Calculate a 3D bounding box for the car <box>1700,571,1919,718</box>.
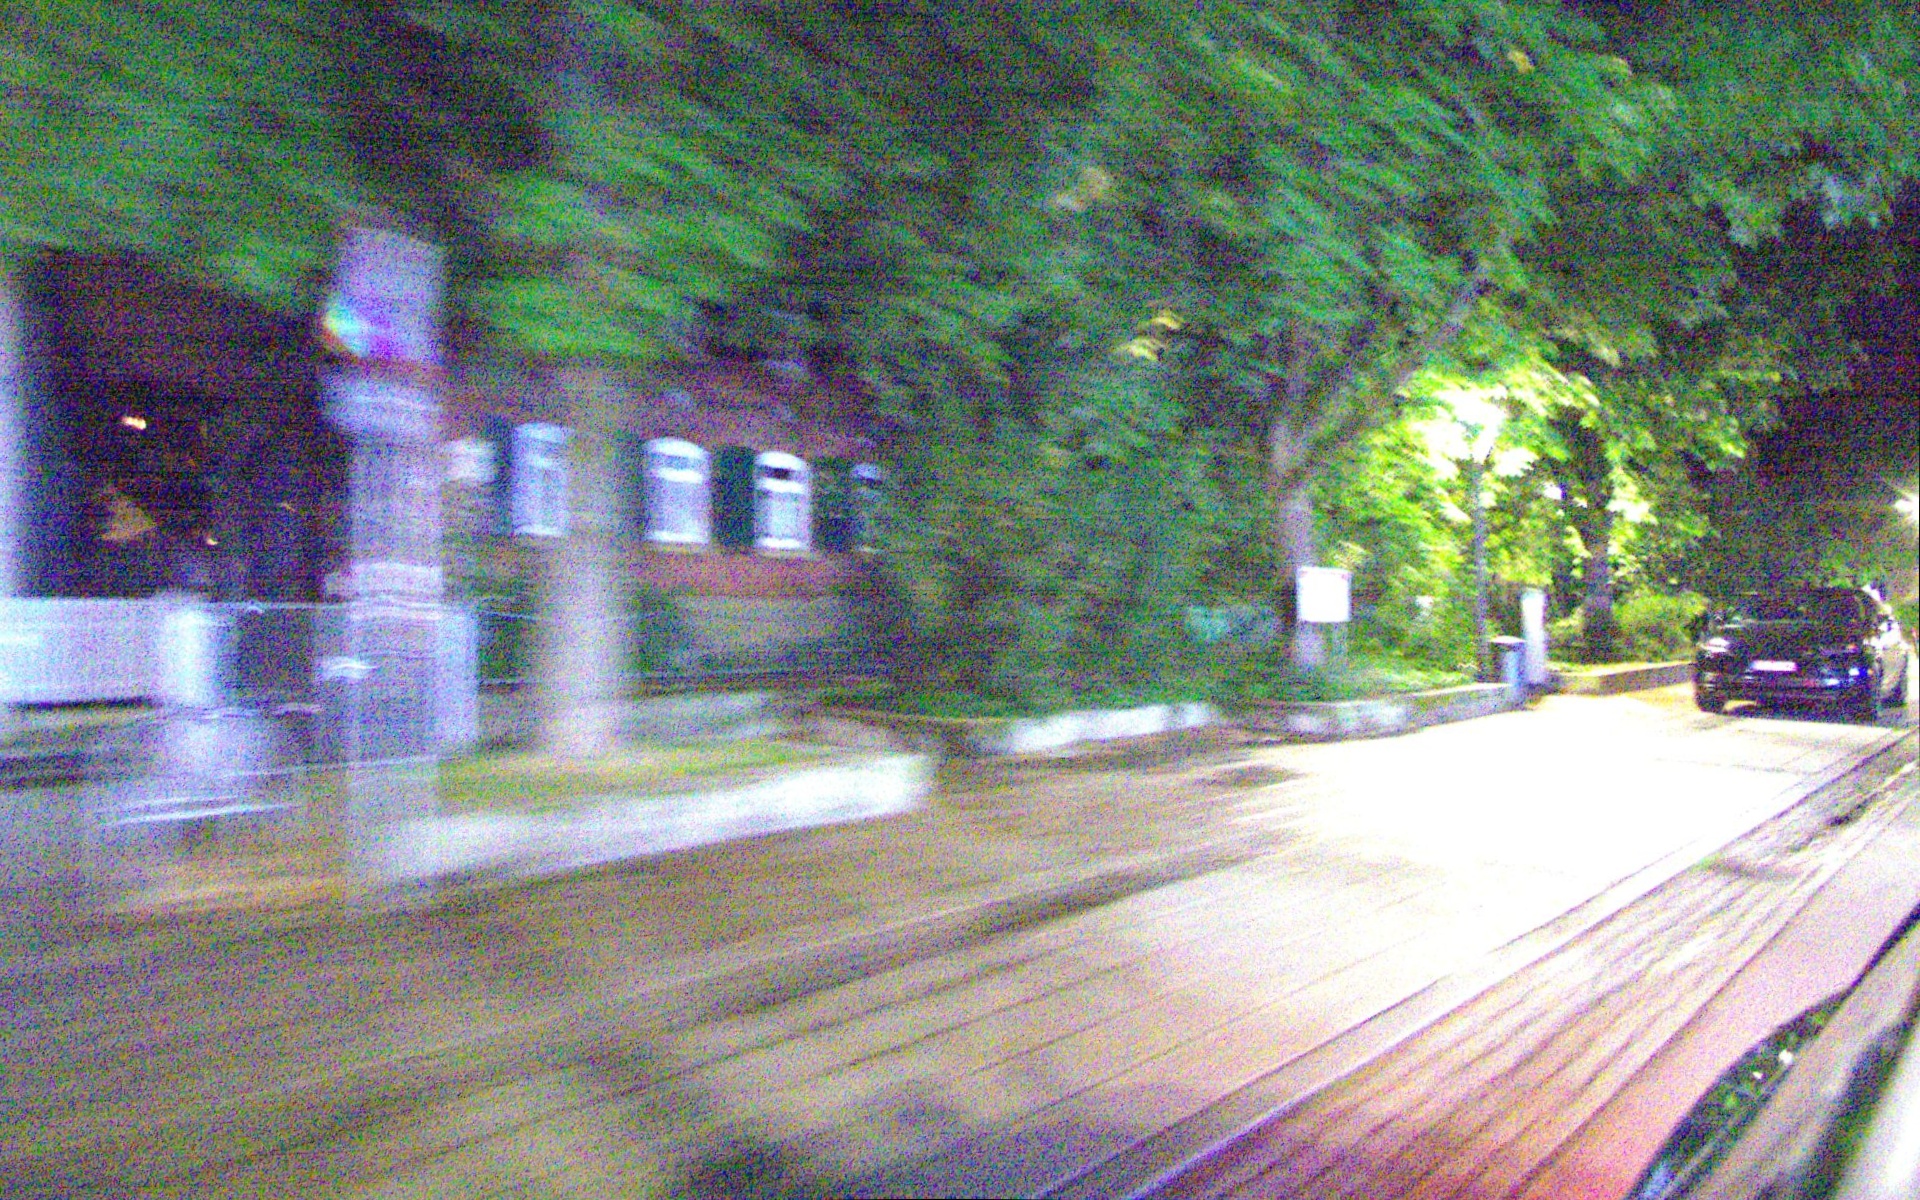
[{"bbox_3d":[12.688,0.563,14.906,4.851,1.826,1.910,0,-1,-42],"label":"car"}]
